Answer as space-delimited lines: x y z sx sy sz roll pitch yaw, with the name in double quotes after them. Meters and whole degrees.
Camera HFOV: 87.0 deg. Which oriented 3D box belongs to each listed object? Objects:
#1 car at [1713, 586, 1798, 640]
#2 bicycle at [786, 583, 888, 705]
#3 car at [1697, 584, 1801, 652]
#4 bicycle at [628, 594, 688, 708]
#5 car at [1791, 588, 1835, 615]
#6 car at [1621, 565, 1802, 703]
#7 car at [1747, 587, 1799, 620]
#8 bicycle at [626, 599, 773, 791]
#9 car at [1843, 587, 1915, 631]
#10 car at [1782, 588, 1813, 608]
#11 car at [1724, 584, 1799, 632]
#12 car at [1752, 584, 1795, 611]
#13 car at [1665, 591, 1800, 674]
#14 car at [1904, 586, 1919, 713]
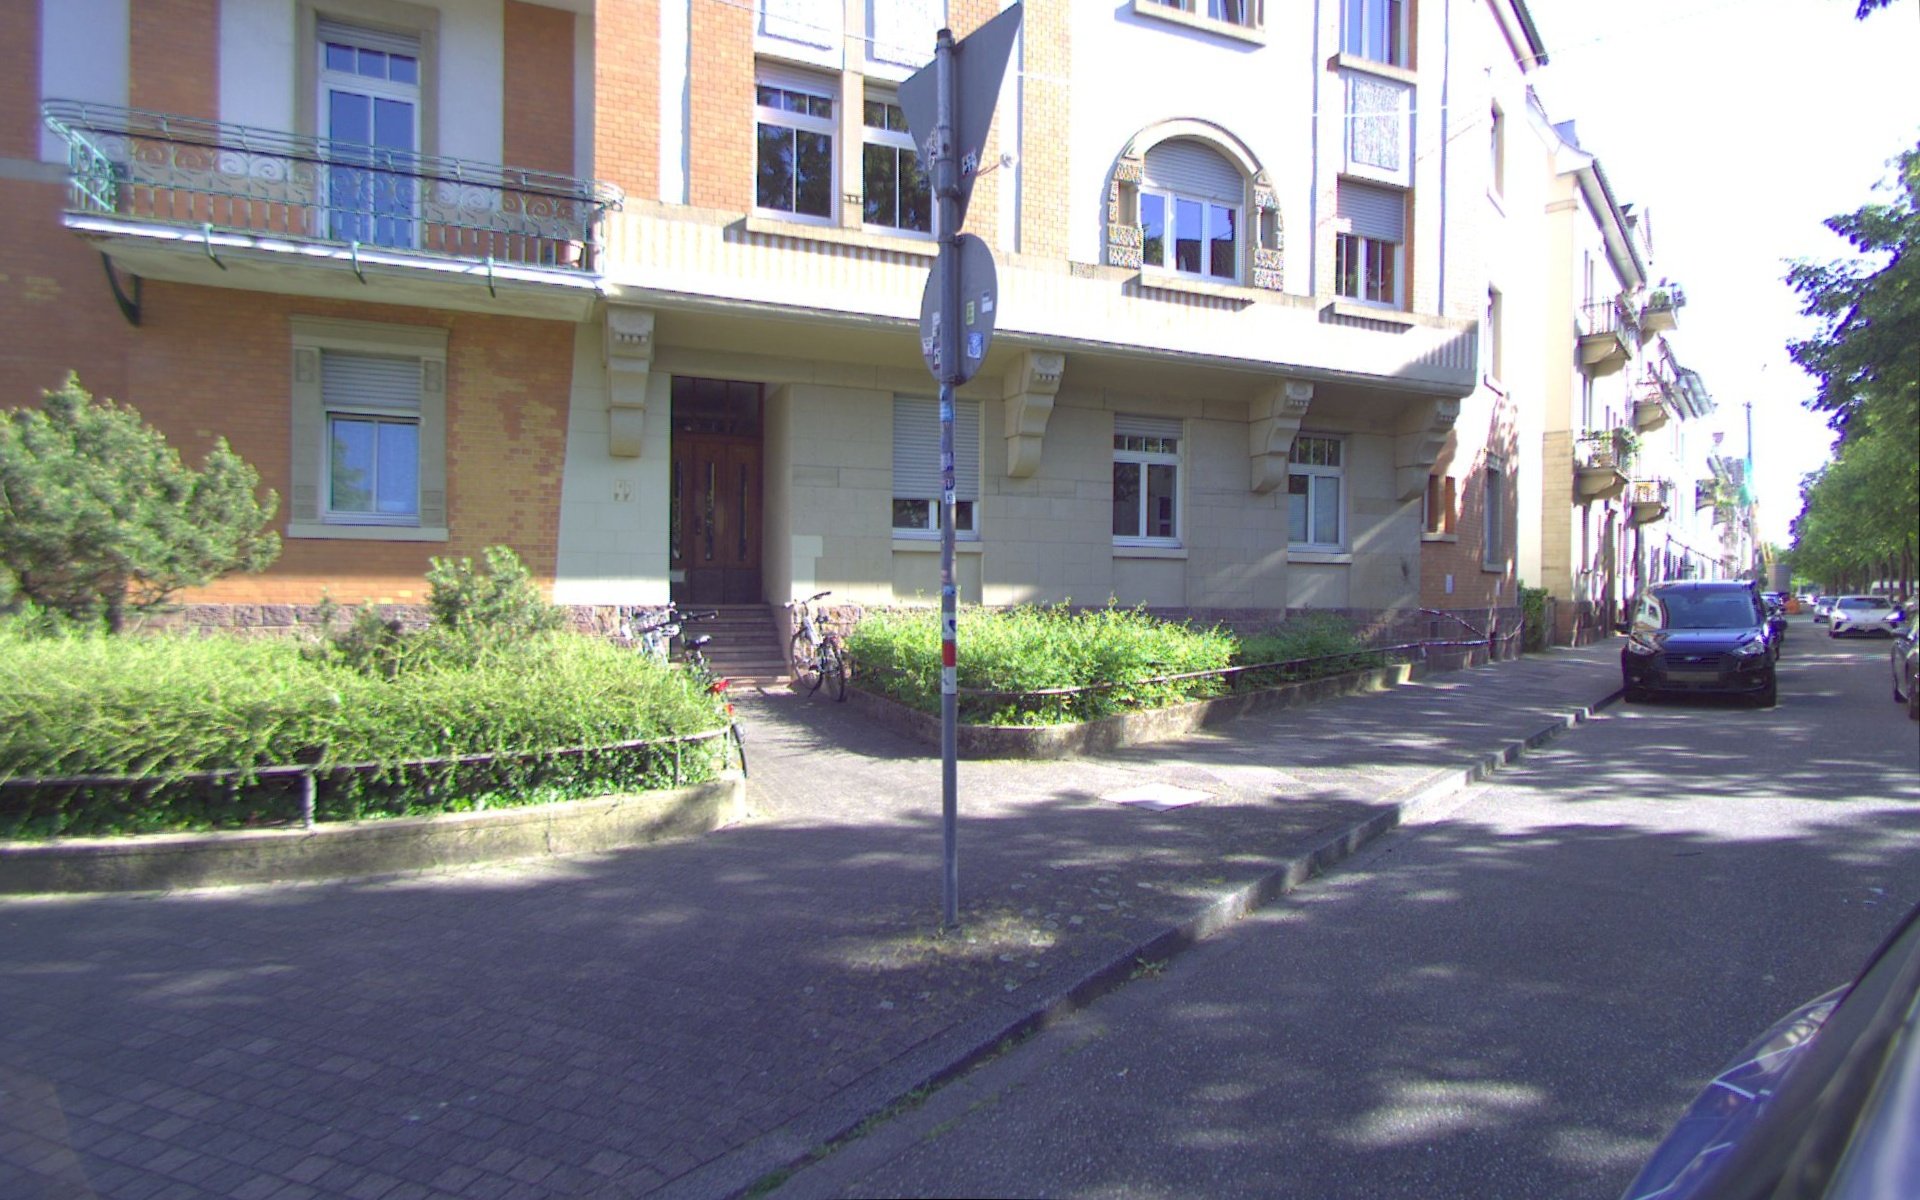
24.818 0.395 31.519 1.791 1.576 4.145 -2 -1 42 "car"
-1.420 0.442 11.388 0.583 1.227 1.803 0 1 -26 "bicycle"
20.239 0.438 25.900 1.791 1.576 4.145 -2 -1 42 "car"
-3.251 0.502 10.834 0.489 1.085 1.678 1 1 -20 "bicycle"
48.305 0.086 57.302 1.791 1.453 4.145 0 0 42 "car"
11.441 0.461 15.299 1.791 1.790 4.145 -2 -1 42 "car"
40.563 0.178 50.447 1.791 1.576 4.145 -2 -1 42 "car"
-1.930 0.593 7.300 0.674 1.135 1.947 0 1 -25 "bicycle"
32.433 0.287 35.772 1.791 1.453 4.145 0 0 42 "car"
69.417 -0.198 83.843 1.791 1.576 4.145 -2 -1 42 "car"
28.193 0.292 35.540 1.791 1.576 4.145 -2 -1 42 "car"
49.885 -0.144 62.039 1.791 1.576 4.145 -2 -1 42 "car"
15.366 0.586 20.053 1.791 1.472 4.145 -2 -1 42 "car"
13.011 0.551 12.539 1.791 1.453 4.145 -1 -1 42 "car"
